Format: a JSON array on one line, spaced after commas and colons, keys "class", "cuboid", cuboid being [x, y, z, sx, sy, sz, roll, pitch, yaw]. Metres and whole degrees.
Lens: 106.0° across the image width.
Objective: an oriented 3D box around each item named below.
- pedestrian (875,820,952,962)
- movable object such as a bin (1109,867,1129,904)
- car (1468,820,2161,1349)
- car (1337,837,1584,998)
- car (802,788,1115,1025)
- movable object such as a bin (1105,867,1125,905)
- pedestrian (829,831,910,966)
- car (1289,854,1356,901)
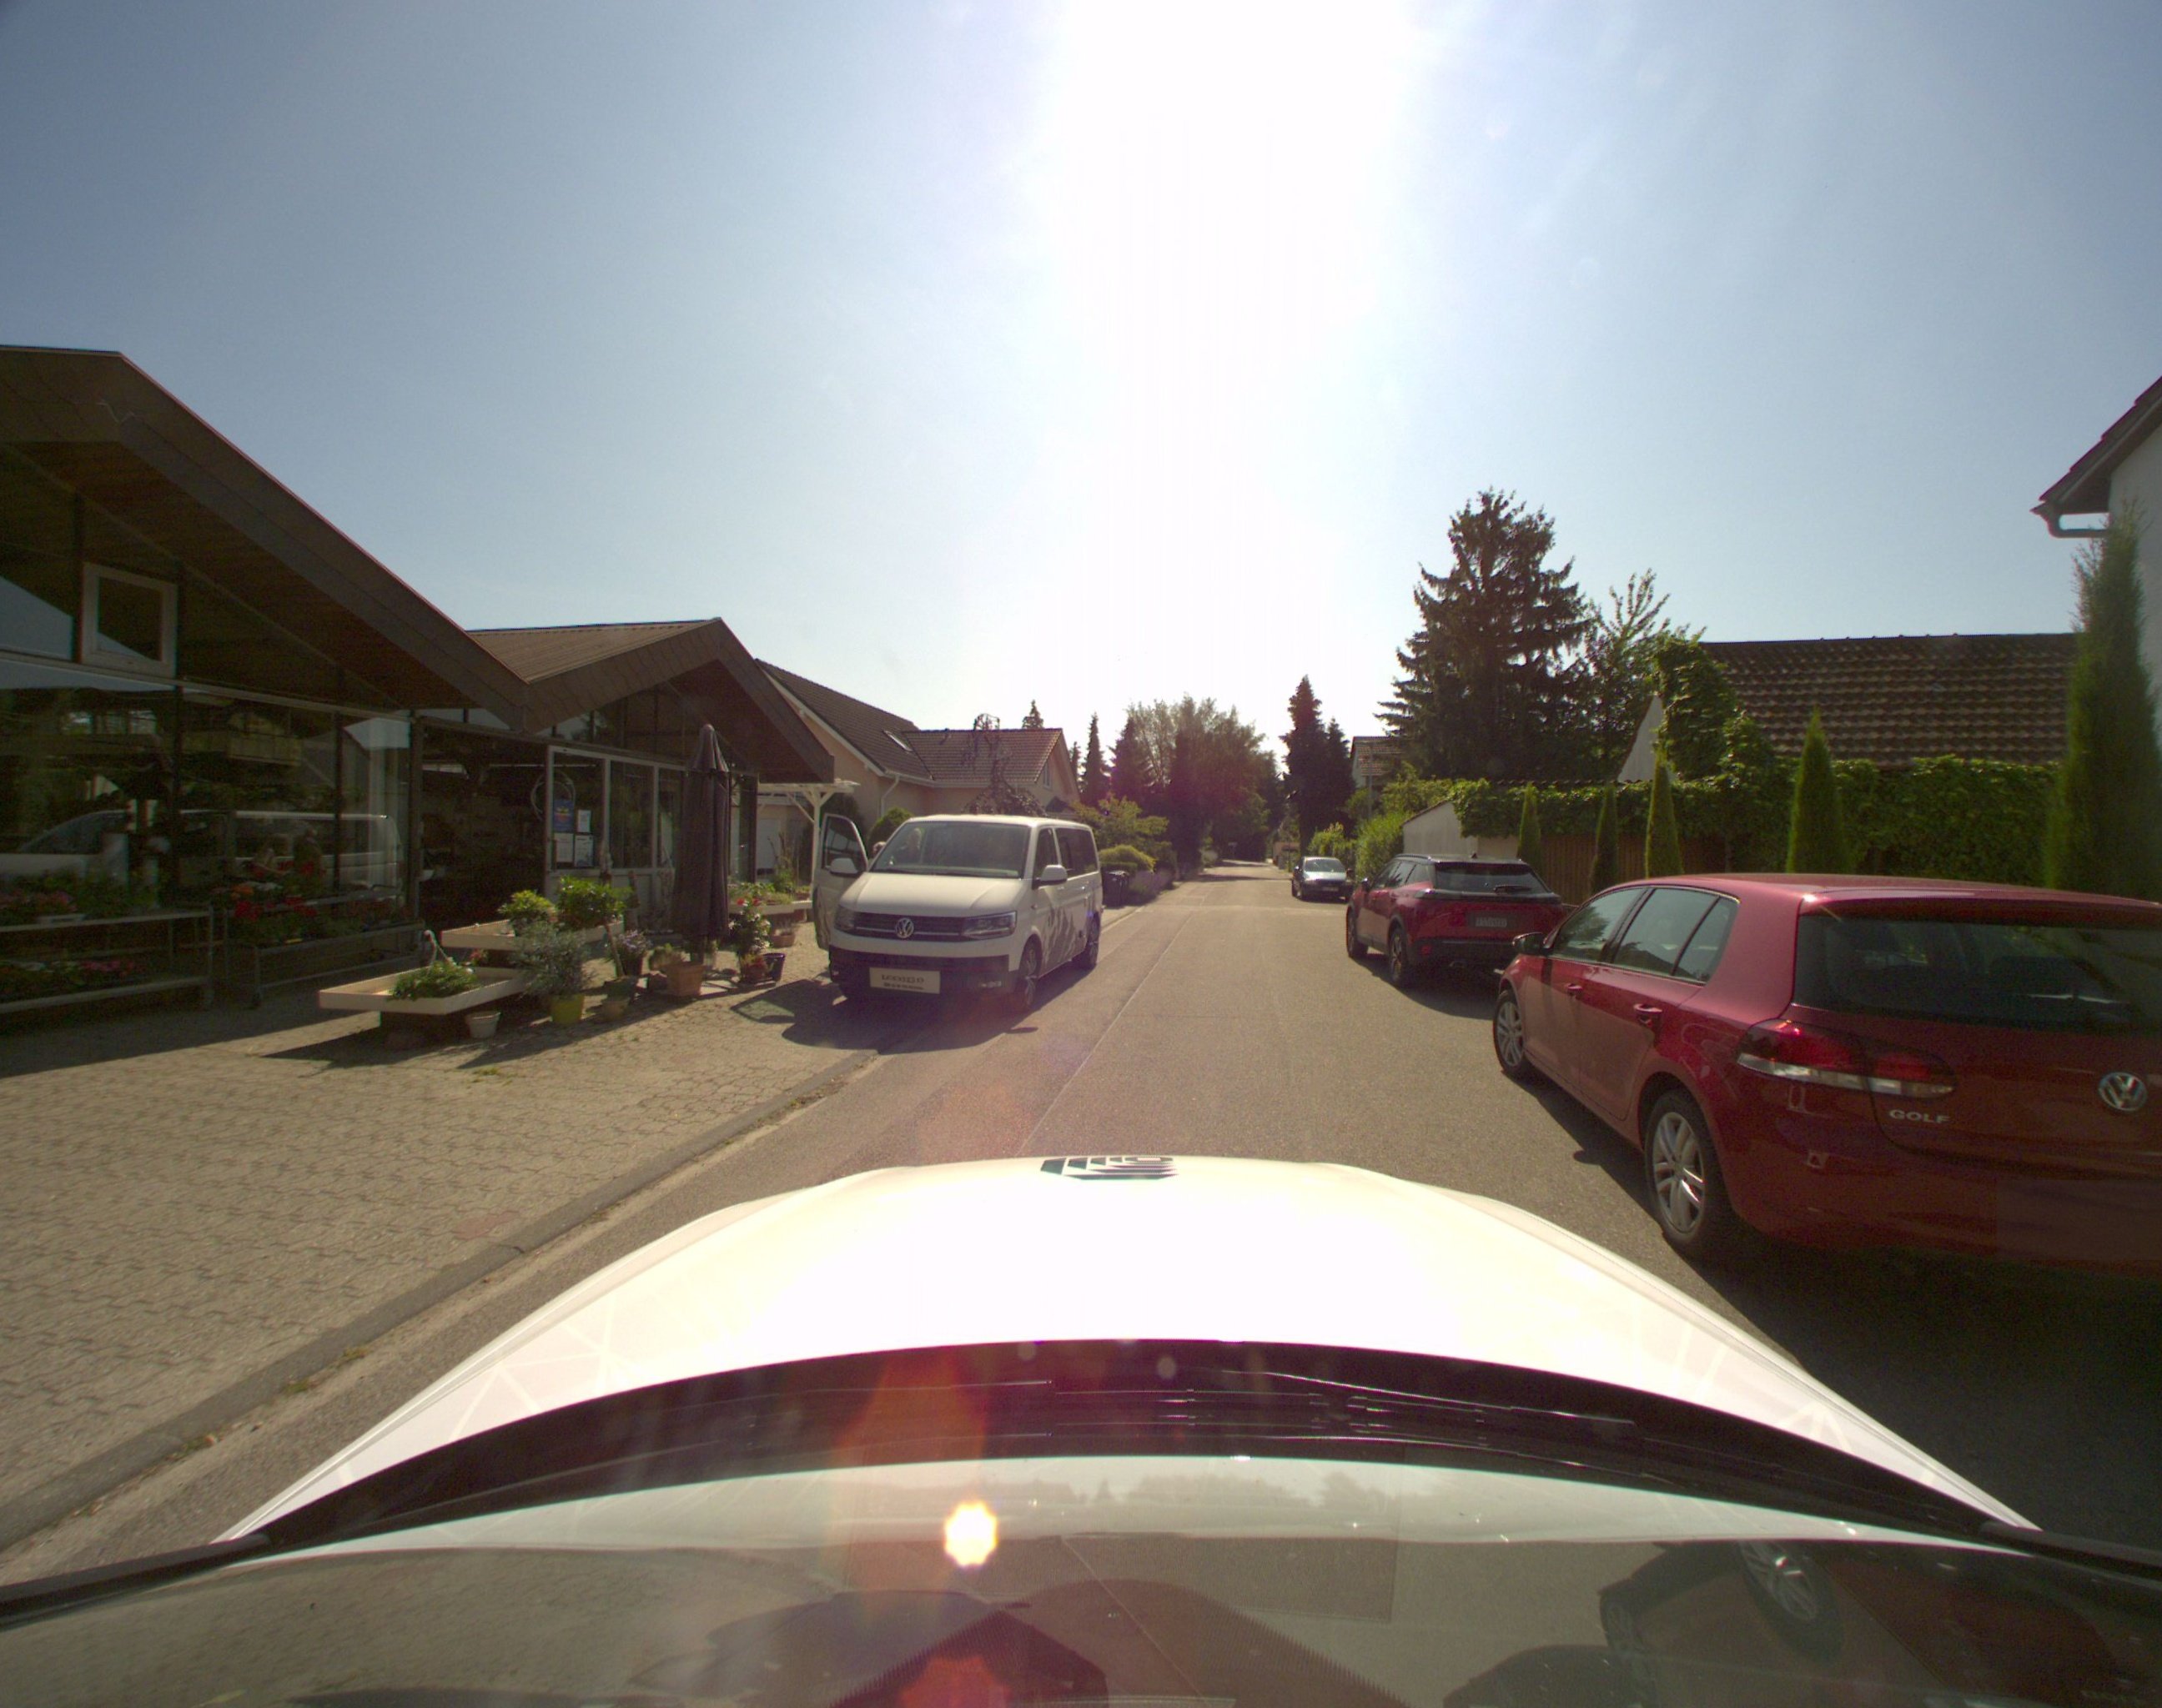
[{"class": "pedestrian", "cuboid": [-2.143, 0.447, 10.405, 0.683, 1.731, 0.646, 2, 1, 42]}, {"class": "movable object such as a bin", "cuboid": [1.063, 0.880, 22.997, 0.491, 1.024, 0.449, 1, 0, 11]}, {"class": "car", "cuboid": [3.460, 0.681, 4.321, 1.763, 1.479, 4.015, 3, 0, 14]}, {"class": "car", "cuboid": [4.600, 0.659, 10.546, 1.812, 1.615, 4.010, 2, 0, 9]}, {"class": "car", "cuboid": [-1.014, 0.439, 9.534, 1.916, 2.013, 4.913, 1, 0, 13]}, {"class": "movable object such as a bin", "cuboid": [0.942, 0.883, 22.548, 0.491, 1.024, 0.449, 1, 0, 11]}, {"class": "pedestrian", "cuboid": [-2.543, 0.510, 9.786, 0.710, 1.538, 0.646, 2, 1, 44]}, {"class": "car", "cuboid": [8.056, 0.731, 27.455, 1.692, 1.399, 4.011, 2, 0, 10]}]
